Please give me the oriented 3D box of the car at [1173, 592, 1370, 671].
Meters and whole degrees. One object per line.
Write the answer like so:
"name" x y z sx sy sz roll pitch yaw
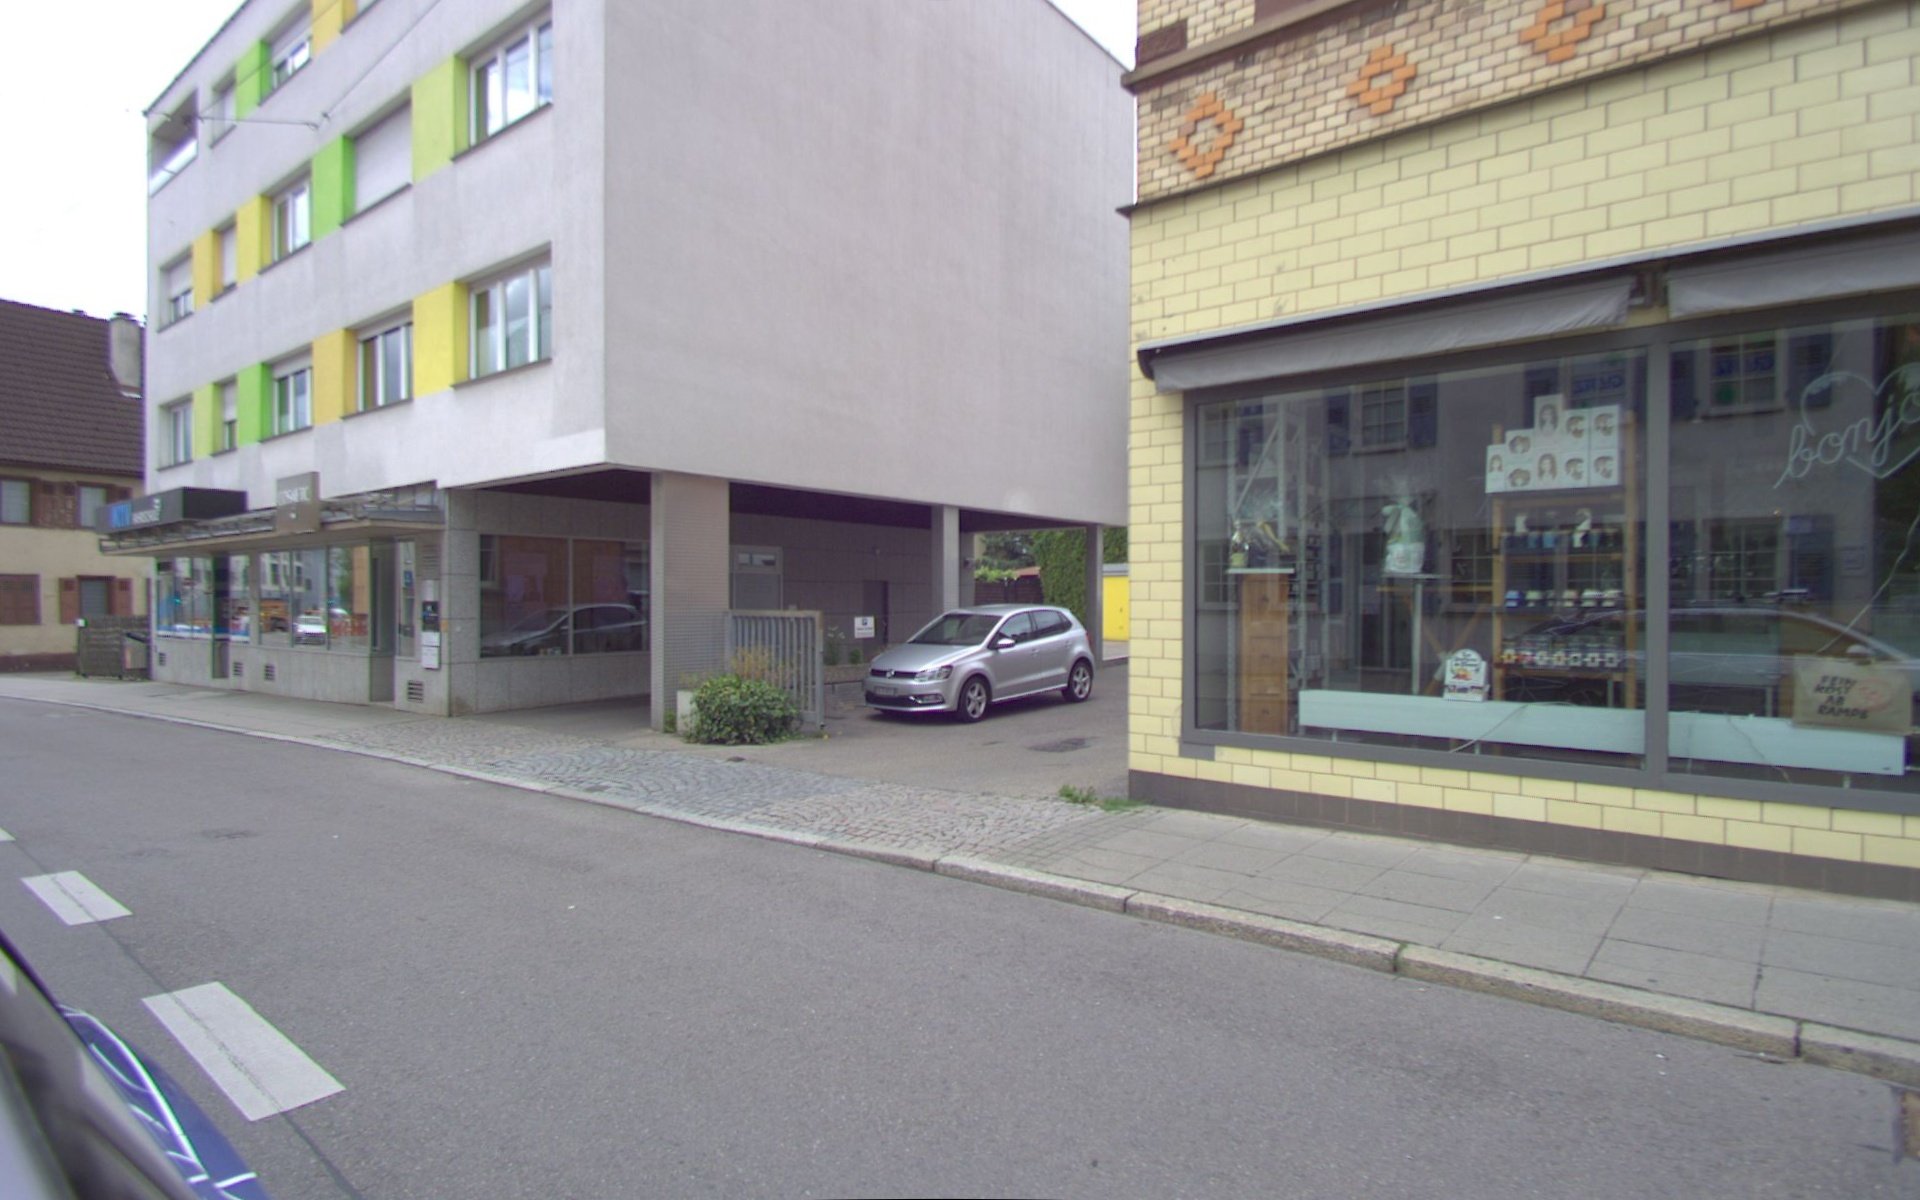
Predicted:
"car" 7.151 0.681 23.551 1.856 1.674 4.032 1 -1 -40

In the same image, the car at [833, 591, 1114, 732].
"car" 0.313 0.743 14.370 1.885 1.674 3.955 -1 0 41

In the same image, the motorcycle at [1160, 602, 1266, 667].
"motorcycle" 5.283 0.710 21.238 2.027 1.307 0.770 -1 -1 40
